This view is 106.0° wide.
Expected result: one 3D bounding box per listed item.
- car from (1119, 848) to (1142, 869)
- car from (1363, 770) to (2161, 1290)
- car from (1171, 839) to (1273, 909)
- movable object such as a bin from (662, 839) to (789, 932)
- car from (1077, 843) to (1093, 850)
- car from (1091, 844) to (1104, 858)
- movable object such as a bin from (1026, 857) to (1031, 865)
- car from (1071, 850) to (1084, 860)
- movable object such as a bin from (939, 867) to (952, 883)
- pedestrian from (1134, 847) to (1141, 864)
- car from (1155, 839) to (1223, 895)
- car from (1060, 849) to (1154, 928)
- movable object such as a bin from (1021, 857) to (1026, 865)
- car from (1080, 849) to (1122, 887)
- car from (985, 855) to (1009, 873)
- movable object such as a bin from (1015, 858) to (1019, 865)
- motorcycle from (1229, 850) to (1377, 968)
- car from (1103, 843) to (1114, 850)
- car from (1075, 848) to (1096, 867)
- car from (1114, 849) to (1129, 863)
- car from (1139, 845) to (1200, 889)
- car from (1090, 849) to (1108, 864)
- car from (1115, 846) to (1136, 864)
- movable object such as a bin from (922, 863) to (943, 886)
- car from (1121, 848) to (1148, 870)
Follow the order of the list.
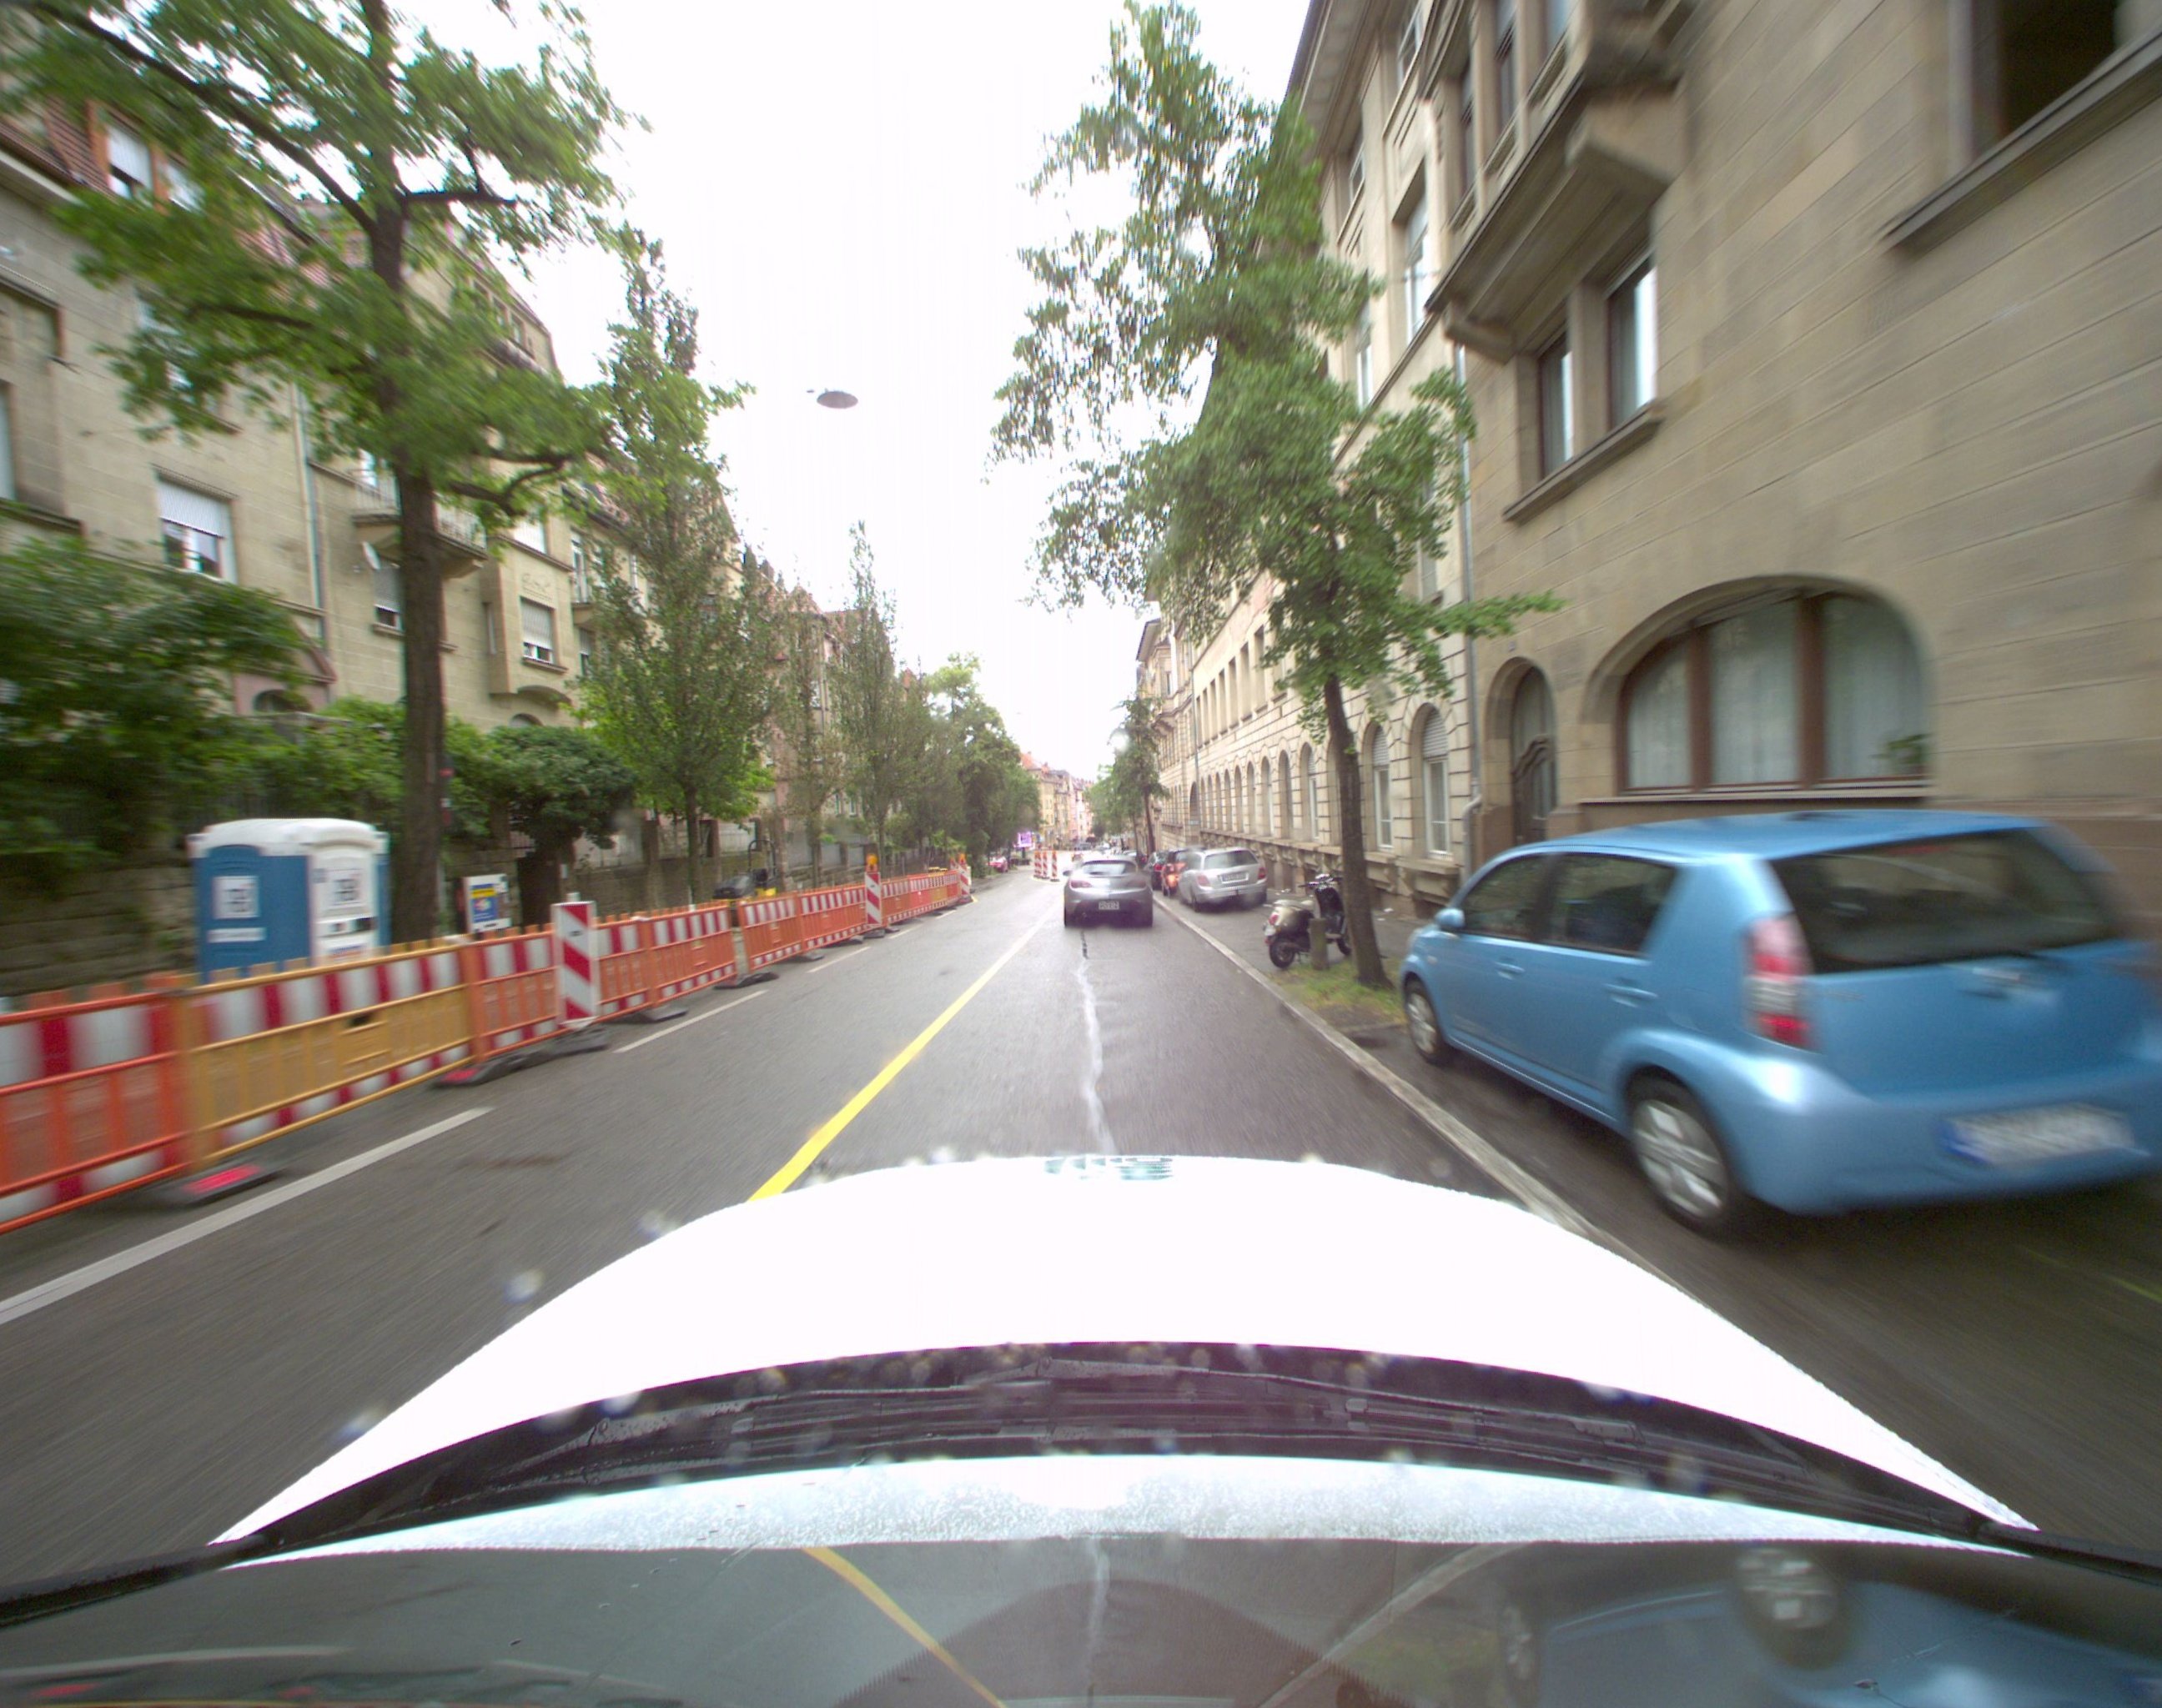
[{"bbox_3d":[3.858,0.340,63.864,1.631,1.469,3.859,-3,1,1],"label":"car"},{"bbox_3d":[3.024,0.538,4.421,1.651,1.543,3.665,-5,0,1],"label":"car"},{"bbox_3d":[3.437,0.438,20.641,1.690,1.431,4.421,-5,0,0],"label":"car"},{"bbox_3d":[-9.695,0.792,22.471,1.984,2.299,2.819,-3,1,4],"label":"movable object such as a bin"},{"bbox_3d":[1.031,-1.832,207.531,3.973,1.750,2.000,0,0,0],"label":"car"},{"bbox_3d":[2.234,-0.361,109.956,1.650,1.782,3.666,-2,0,1],"label":"car"},{"bbox_3d":[-7.558,1.022,116.856,0.657,1.058,0.625,0,0,-8],"label":"movable object such as a bin"},{"bbox_3d":[-0.539,0.146,125.290,1.987,1.500,3.999,-3,0,-1],"label":"car"},{"bbox_3d":[-7.788,1.200,46.756,0.601,0.907,0.624,-1,0,2],"label":"movable object such as a bin"},{"bbox_3d":[6.354,0.183,92.108,0.713,1.870,0.636,-1,-1,0],"label":"pedestrian"},{"bbox_3d":[3.397,0.382,26.159,1.633,1.520,3.183,-5,0,0],"label":"car"},{"bbox_3d":[0.602,0.664,17.828,1.804,1.449,3.872,-1,1,3],"label":"car"},{"bbox_3d":[-8.165,0.989,115.762,0.624,1.058,0.719,0,0,-5],"label":"movable object such as a bin"},{"bbox_3d":[0.915,0.572,36.214,1.765,1.504,3.871,-1,1,2],"label":"car"},{"bbox_3d":[-7.487,0.858,72.930,1.631,1.439,4.081,-3,1,1],"label":"car"},{"bbox_3d":[-9.136,1.038,115.836,0.624,1.058,0.633,0,0,-5],"label":"movable object such as a bin"},{"bbox_3d":[2.841,0.648,10.326,1.947,1.235,0.650,-6,2,-36],"label":"motorcycle"},{"bbox_3d":[6.393,-1.686,190.552,1.981,1.684,4.012,0,0,11],"label":"car"},{"bbox_3d":[0.428,0.283,74.059,1.651,1.543,3.666,-5,0,1],"label":"car"},{"bbox_3d":[4.633,0.237,93.547,1.631,1.524,3.859,-3,1,1],"label":"car"},{"bbox_3d":[3.407,0.470,32.197,1.752,1.461,4.723,-5,0,0],"label":"car"},{"bbox_3d":[1.972,0.271,88.633,1.652,1.543,3.663,-5,0,-2],"label":"car"},{"bbox_3d":[4.248,0.094,78.785,1.633,1.602,3.855,-3,1,-1],"label":"car"},{"bbox_3d":[-8.070,1.112,44.381,0.941,1.214,0.856,-1,0,2],"label":"movable object such as a bin"},{"bbox_3d":[3.832,0.362,58.698,1.632,1.429,3.376,-3,1,0],"label":"car"}]
